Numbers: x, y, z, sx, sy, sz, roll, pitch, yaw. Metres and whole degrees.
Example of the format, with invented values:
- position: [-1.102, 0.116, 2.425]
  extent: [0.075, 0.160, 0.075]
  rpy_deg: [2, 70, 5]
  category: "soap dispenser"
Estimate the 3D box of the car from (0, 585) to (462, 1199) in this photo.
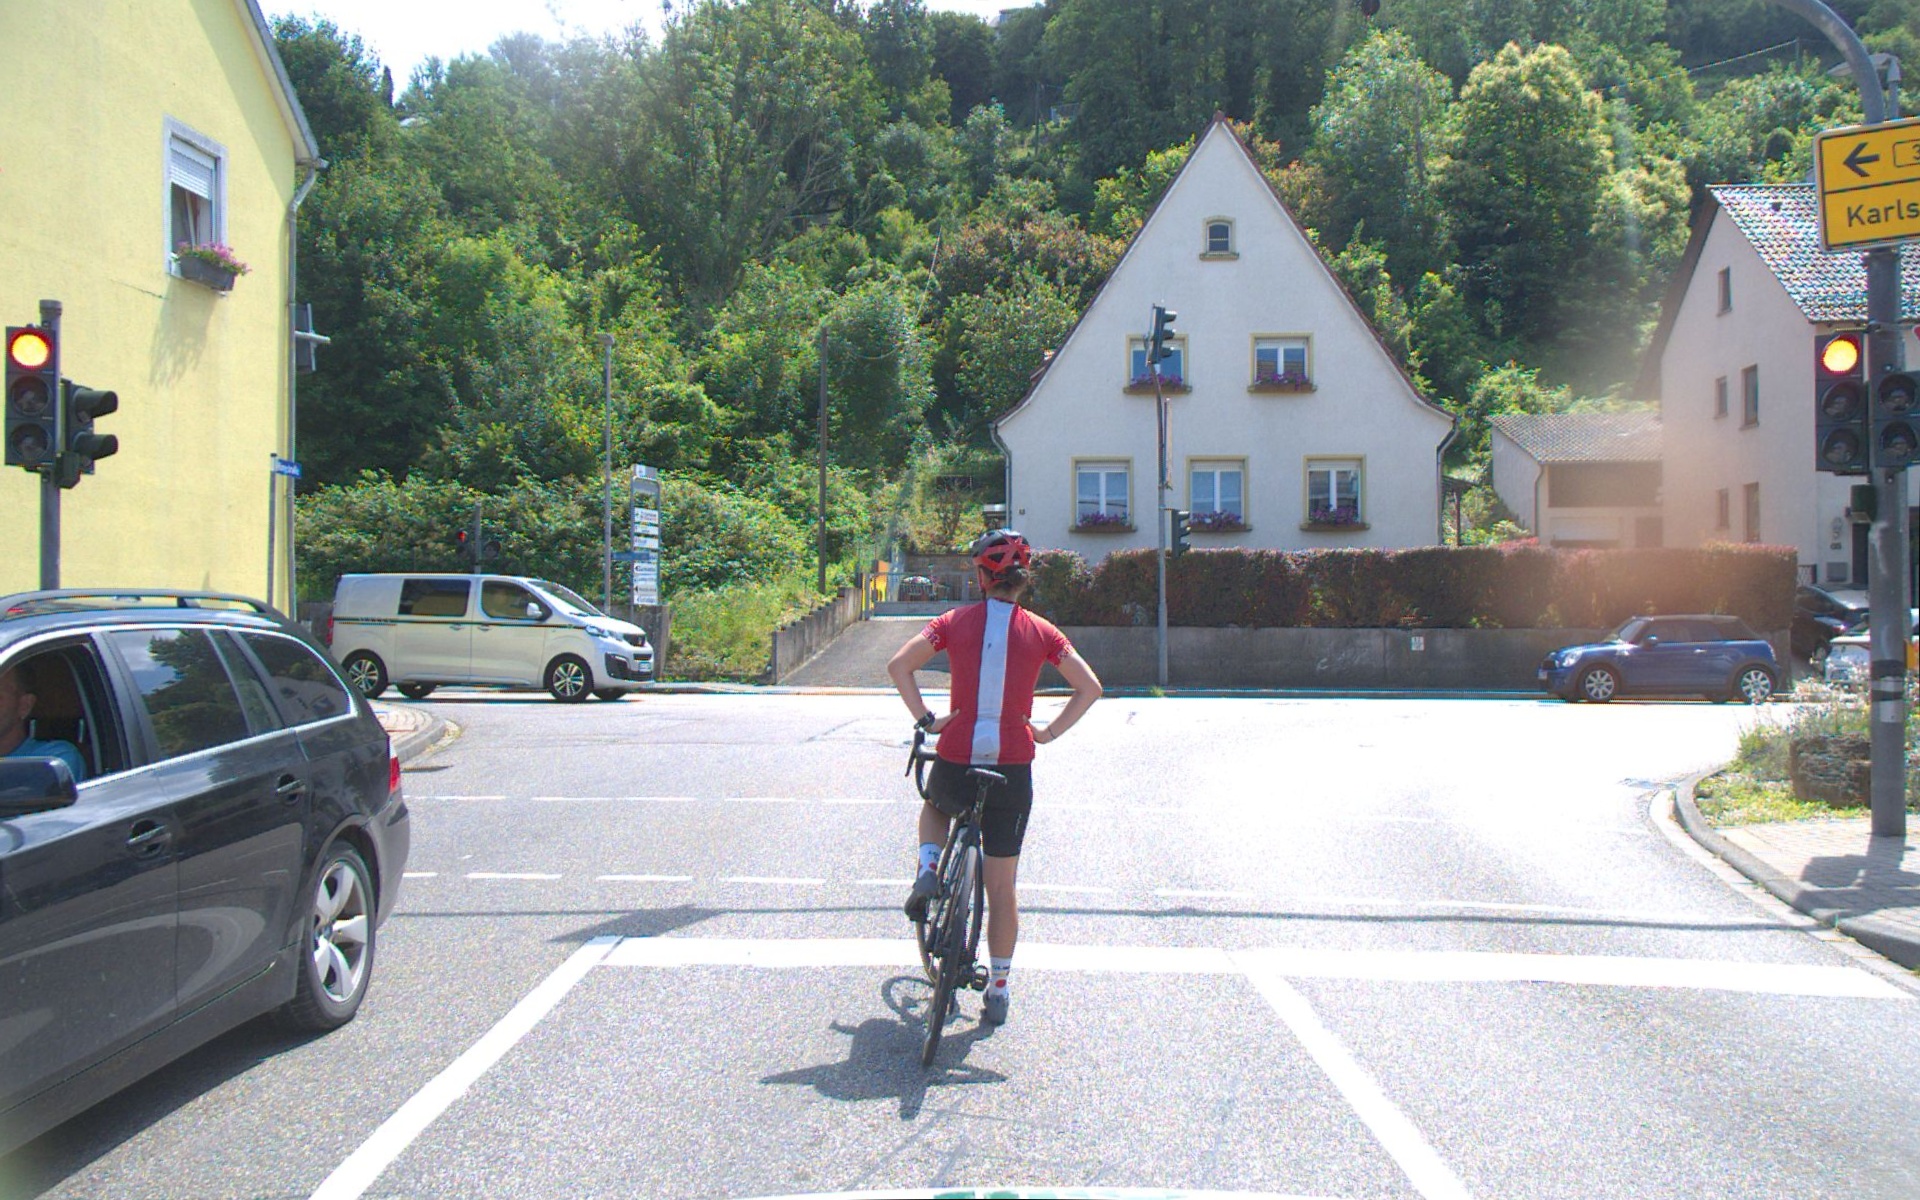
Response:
- position: [-2.997, 0.720, 4.342]
  extent: [1.825, 1.467, 4.672]
  rpy_deg: [-1, 0, 2]
  category: "car"

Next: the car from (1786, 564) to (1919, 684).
- position: [17.251, 0.403, 31.966]
  extent: [1.758, 1.411, 3.696]
  rpy_deg: [0, 14, 18]
  category: "car"

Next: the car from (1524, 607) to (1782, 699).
- position: [11.223, 0.876, 26.952]
  extent: [3.533, 1.387, 1.645]
  rpy_deg: [1, -3, 3]
  category: "car"

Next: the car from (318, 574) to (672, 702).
- position: [-7.039, 0.580, 25.307]
  extent: [4.769, 1.854, 2.001]
  rpy_deg: [0, -2, 7]
  category: "car"

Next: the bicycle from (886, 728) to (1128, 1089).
- position: [0.105, 0.974, 5.696]
  extent: [0.617, 0.920, 1.655]
  rpy_deg: [1, 0, -5]
  category: "bicycle"

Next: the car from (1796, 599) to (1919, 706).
- position: [14.549, 0.756, 23.281]
  extent: [4.564, 1.452, 1.929]
  rpy_deg: [0, -2, 6]
  category: "car"

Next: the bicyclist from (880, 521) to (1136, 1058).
- position: [0.135, 0.604, 5.691]
  extent: [0.746, 1.693, 0.867]
  rpy_deg: [1, 0, -6]
  category: "bicyclist"
